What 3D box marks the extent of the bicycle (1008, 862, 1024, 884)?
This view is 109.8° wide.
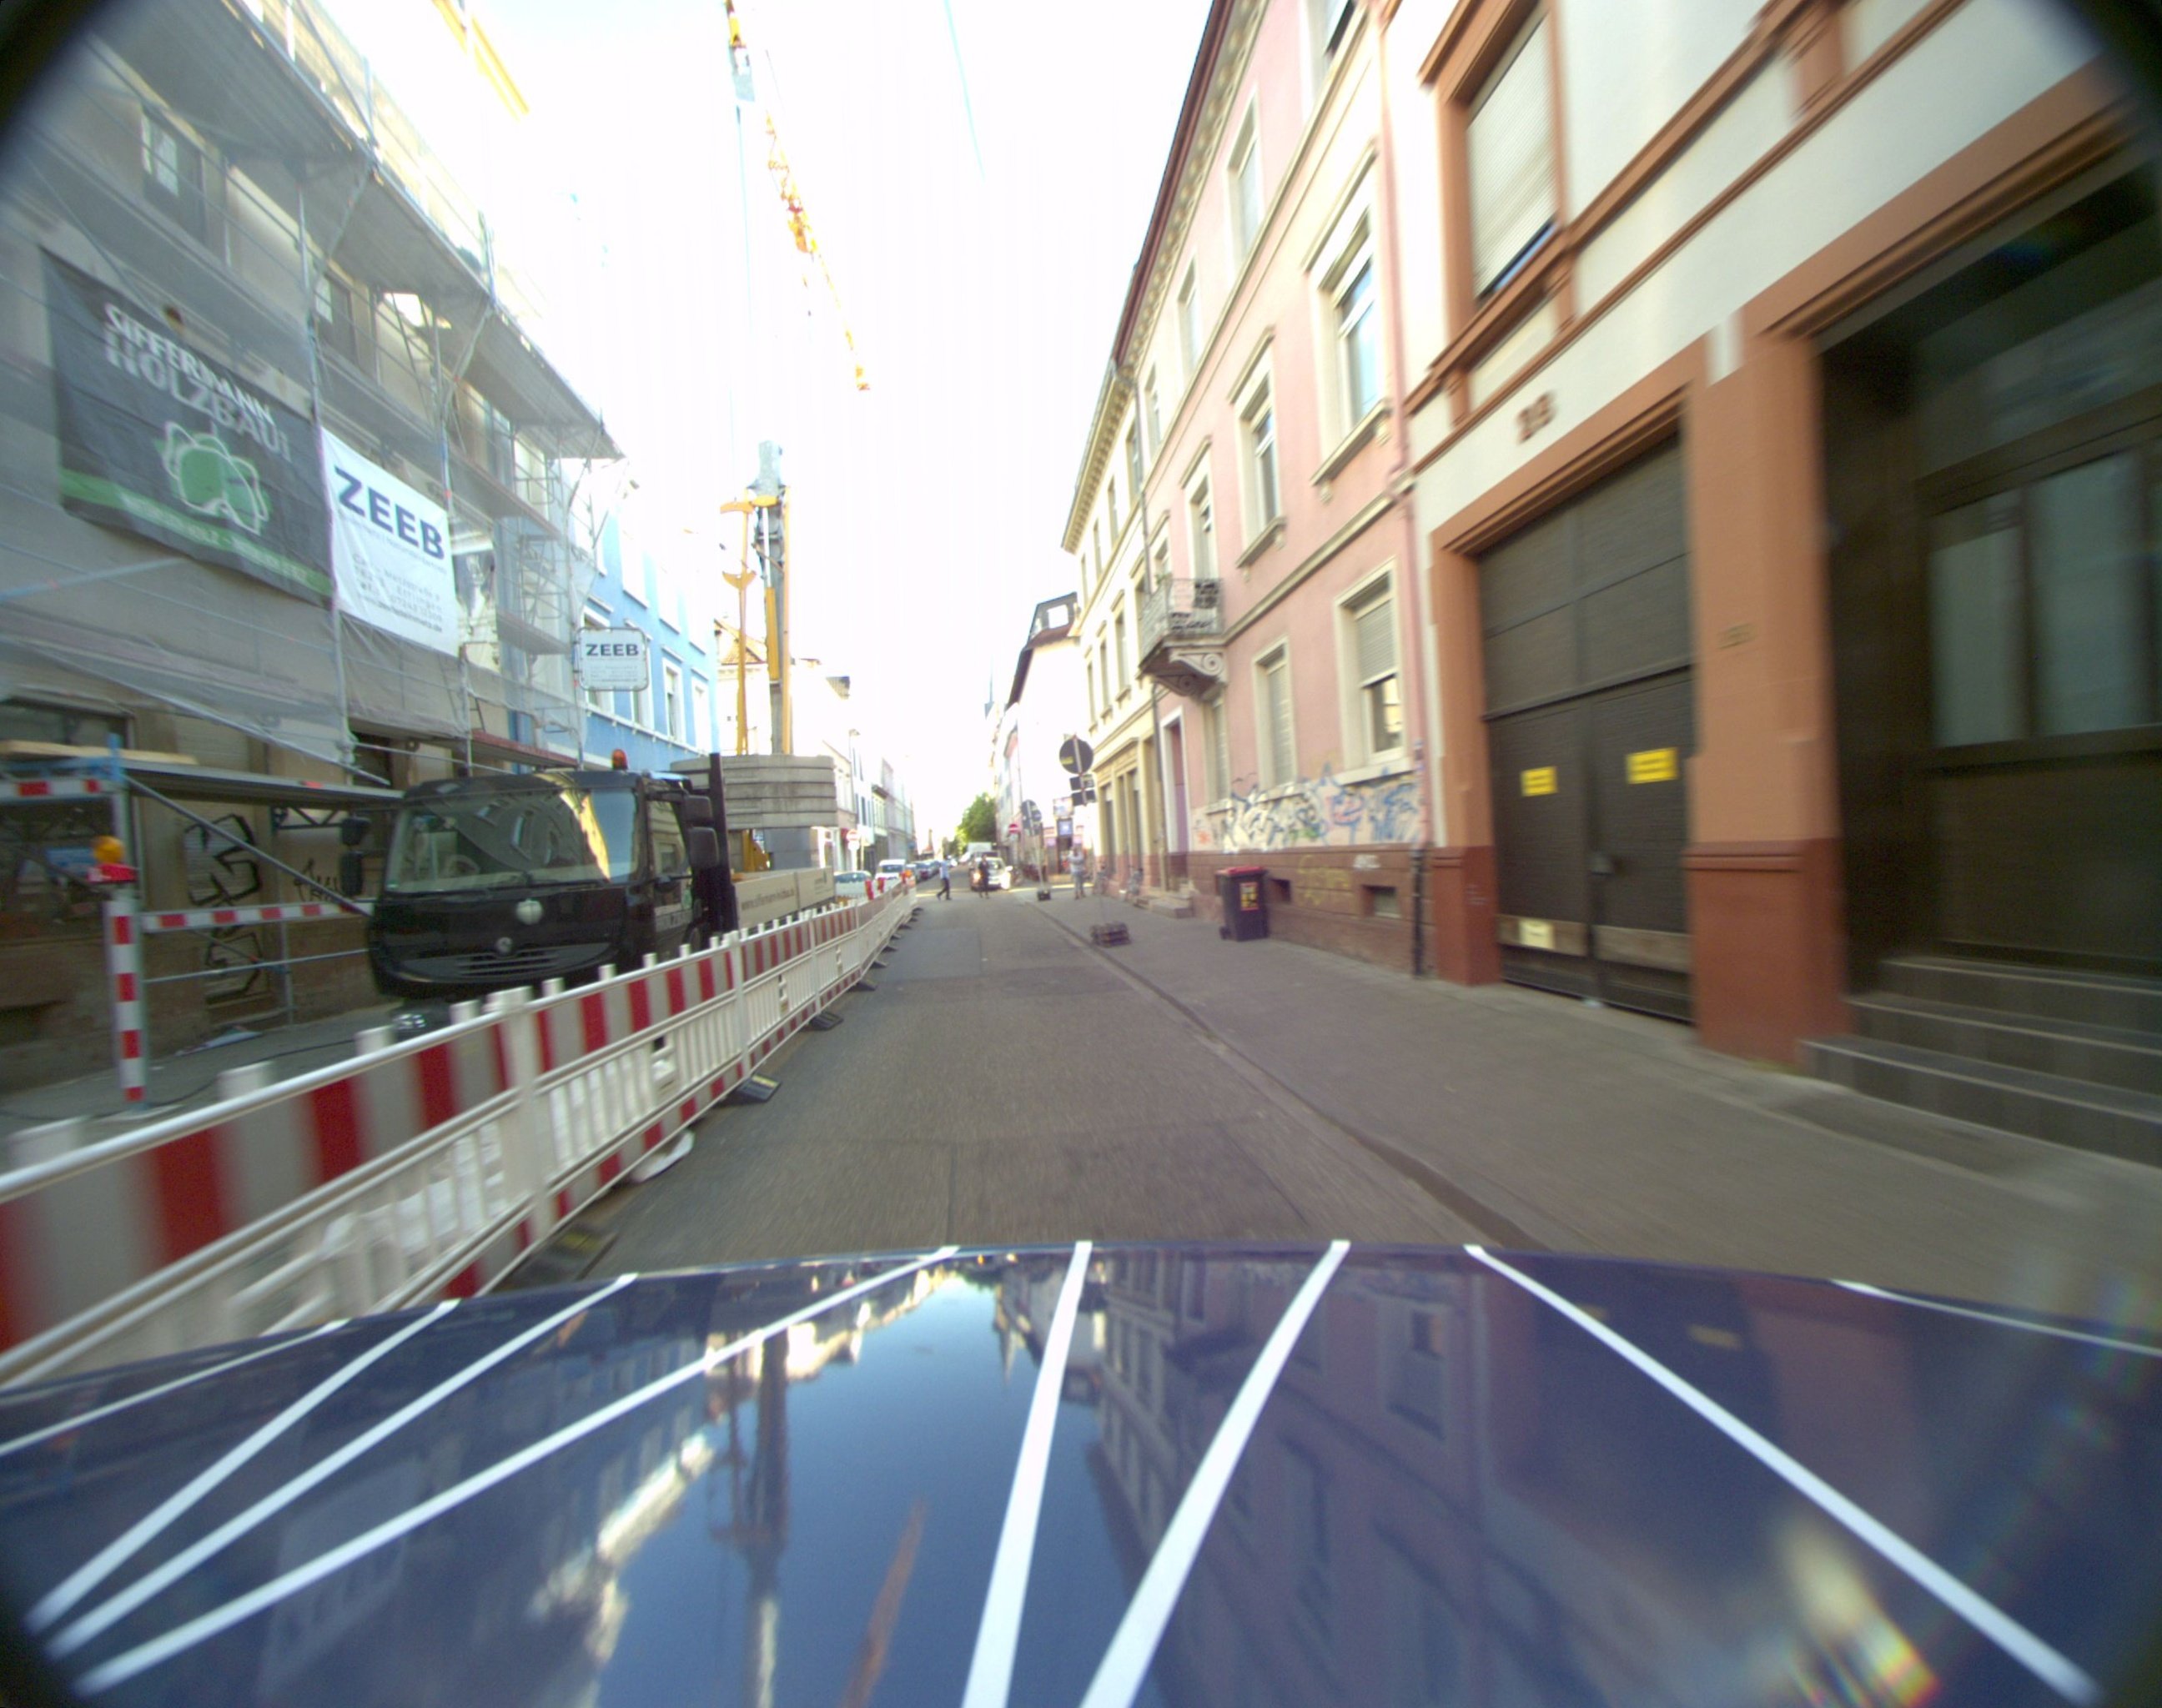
[{"bbox_3d":[-3.472,1.014,40.657,0.578,1.132,1.459,-5,1,-13],"label":"bicycle"}]

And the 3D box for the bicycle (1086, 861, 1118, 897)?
[{"bbox_3d":[0.647,0.784,24.033,0.605,1.016,1.817,-7,0,-8],"label":"bicycle"}]

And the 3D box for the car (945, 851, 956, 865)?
[{"bbox_3d":[-28.042,0.917,163.423,2.000,2.777,4.559,-5,1,-12],"label":"car"}]

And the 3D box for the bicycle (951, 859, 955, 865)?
[{"bbox_3d":[-24.768,1.508,146.858,0.729,1.173,2.486,-5,1,-11],"label":"bicycle"}]

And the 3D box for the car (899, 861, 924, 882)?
[{"bbox_3d":[-13.260,1.356,59.709,1.621,1.495,3.769,-2,1,-9],"label":"car"}]

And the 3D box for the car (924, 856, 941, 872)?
[{"bbox_3d":[-16.955,1.117,87.052,1.714,1.721,4.217,-2,1,-9],"label":"car"}]

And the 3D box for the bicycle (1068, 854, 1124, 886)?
[{"bbox_3d":[0.716,0.741,36.353,2.483,1.351,0.928,-3,1,-7],"label":"bicycle"}]

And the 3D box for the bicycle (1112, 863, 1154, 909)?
[{"bbox_3d":[1.311,0.785,19.480,0.624,1.017,1.816,-5,2,-8],"label":"bicycle"}]

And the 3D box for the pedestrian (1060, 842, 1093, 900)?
[{"bbox_3d":[-0.142,0.541,23.695,0.695,1.691,0.865,-8,0,-8],"label":"pedestrian"}]

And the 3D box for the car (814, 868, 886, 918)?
[{"bbox_3d":[-8.071,1.317,26.871,1.777,1.426,4.030,-4,1,-9],"label":"car"}]

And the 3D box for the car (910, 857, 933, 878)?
[{"bbox_3d":[-14.163,1.203,67.703,1.714,1.721,4.404,-2,1,-9],"label":"car"}]

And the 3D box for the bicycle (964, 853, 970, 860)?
[{"bbox_3d":[-27.056,0.542,179.941,1.020,1.641,3.543,-5,1,-13],"label":"bicycle"}]

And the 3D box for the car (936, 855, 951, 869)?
[{"bbox_3d":[-21.765,1.234,120.287,2.000,2.002,4.559,-5,1,-12],"label":"car"}]

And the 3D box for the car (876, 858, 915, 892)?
[{"bbox_3d":[-10.815,1.179,44.509,1.754,1.806,4.366,-2,1,-9],"label":"car"}]

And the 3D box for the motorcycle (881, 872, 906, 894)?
[{"bbox_3d":[-10.087,1.531,40.934,0.720,1.080,1.996,0,1,3],"label":"motorcycle"}]

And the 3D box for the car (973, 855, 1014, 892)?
[{"bbox_3d":[-4.306,0.907,36.964,1.728,1.596,4.163,-2,0,-10],"label":"car"}]

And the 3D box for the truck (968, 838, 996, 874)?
[{"bbox_3d":[-9.268,0.146,71.065,2.298,3.165,7.039,-3,1,-7],"label":"truck"}]

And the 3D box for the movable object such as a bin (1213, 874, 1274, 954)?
[{"bbox_3d":[2.290,0.830,10.757,0.607,1.029,0.596,-5,2,-9],"label":"movable object such as a bin"}]

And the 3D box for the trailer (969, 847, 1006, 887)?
[{"bbox_3d":[-5.222,0.662,41.902,1.667,2.049,4.359,-2,1,-11],"label":"trailer"}]

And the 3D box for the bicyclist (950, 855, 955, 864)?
[{"bbox_3d":[-24.806,1.075,146.876,0.716,1.650,0.876,-5,2,-11],"label":"bicyclist"}]

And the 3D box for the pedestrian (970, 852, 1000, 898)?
[{"bbox_3d":[-3.818,0.808,30.132,0.830,1.782,0.987,-1,1,-31],"label":"pedestrian"}]

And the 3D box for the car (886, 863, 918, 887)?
[{"bbox_3d":[-11.586,1.345,49.350,1.614,1.400,3.878,-2,1,-9],"label":"car"}]

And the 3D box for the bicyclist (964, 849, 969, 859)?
[{"bbox_3d":[-27.136,-0.067,179.904,1.020,2.280,1.530,-5,2,-13],"label":"bicyclist"}]

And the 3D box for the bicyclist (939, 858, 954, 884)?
[{"bbox_3d":[-7.666,0.949,43.325,0.710,1.427,0.789,-4,1,-6],"label":"bicyclist"}]

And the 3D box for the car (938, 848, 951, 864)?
[{"bbox_3d":[-24.749,0.381,137.456,2.000,2.777,4.559,-5,1,-12],"label":"car"}]

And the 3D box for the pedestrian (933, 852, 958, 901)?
[{"bbox_3d":[-5.267,0.863,29.557,0.771,1.839,0.780,-5,2,-5],"label":"pedestrian"}]

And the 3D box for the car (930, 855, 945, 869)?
[{"bbox_3d":[-18.726,1.012,98.978,1.714,1.802,4.217,-2,1,-9],"label":"car"}]

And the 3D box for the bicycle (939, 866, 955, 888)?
[{"bbox_3d":[-7.649,1.303,43.370,0.710,1.105,1.933,-4,1,-6],"label":"bicycle"}]

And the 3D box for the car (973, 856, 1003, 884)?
[{"bbox_3d":[-5.758,0.929,46.870,1.682,1.546,3.815,-2,1,-9],"label":"car"}]

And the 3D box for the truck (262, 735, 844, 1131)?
[{"bbox_3d":[-5.093,0.540,9.477,2.670,2.798,7.387,-5,1,-8],"label":"truck"}]

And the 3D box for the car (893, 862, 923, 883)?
[{"bbox_3d":[-12.593,1.315,55.466,1.737,1.388,3.878,-2,1,-9],"label":"car"}]

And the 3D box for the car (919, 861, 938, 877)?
[{"bbox_3d":[-15.146,1.499,75.558,1.614,1.388,3.878,-2,1,-9],"label":"car"}]
